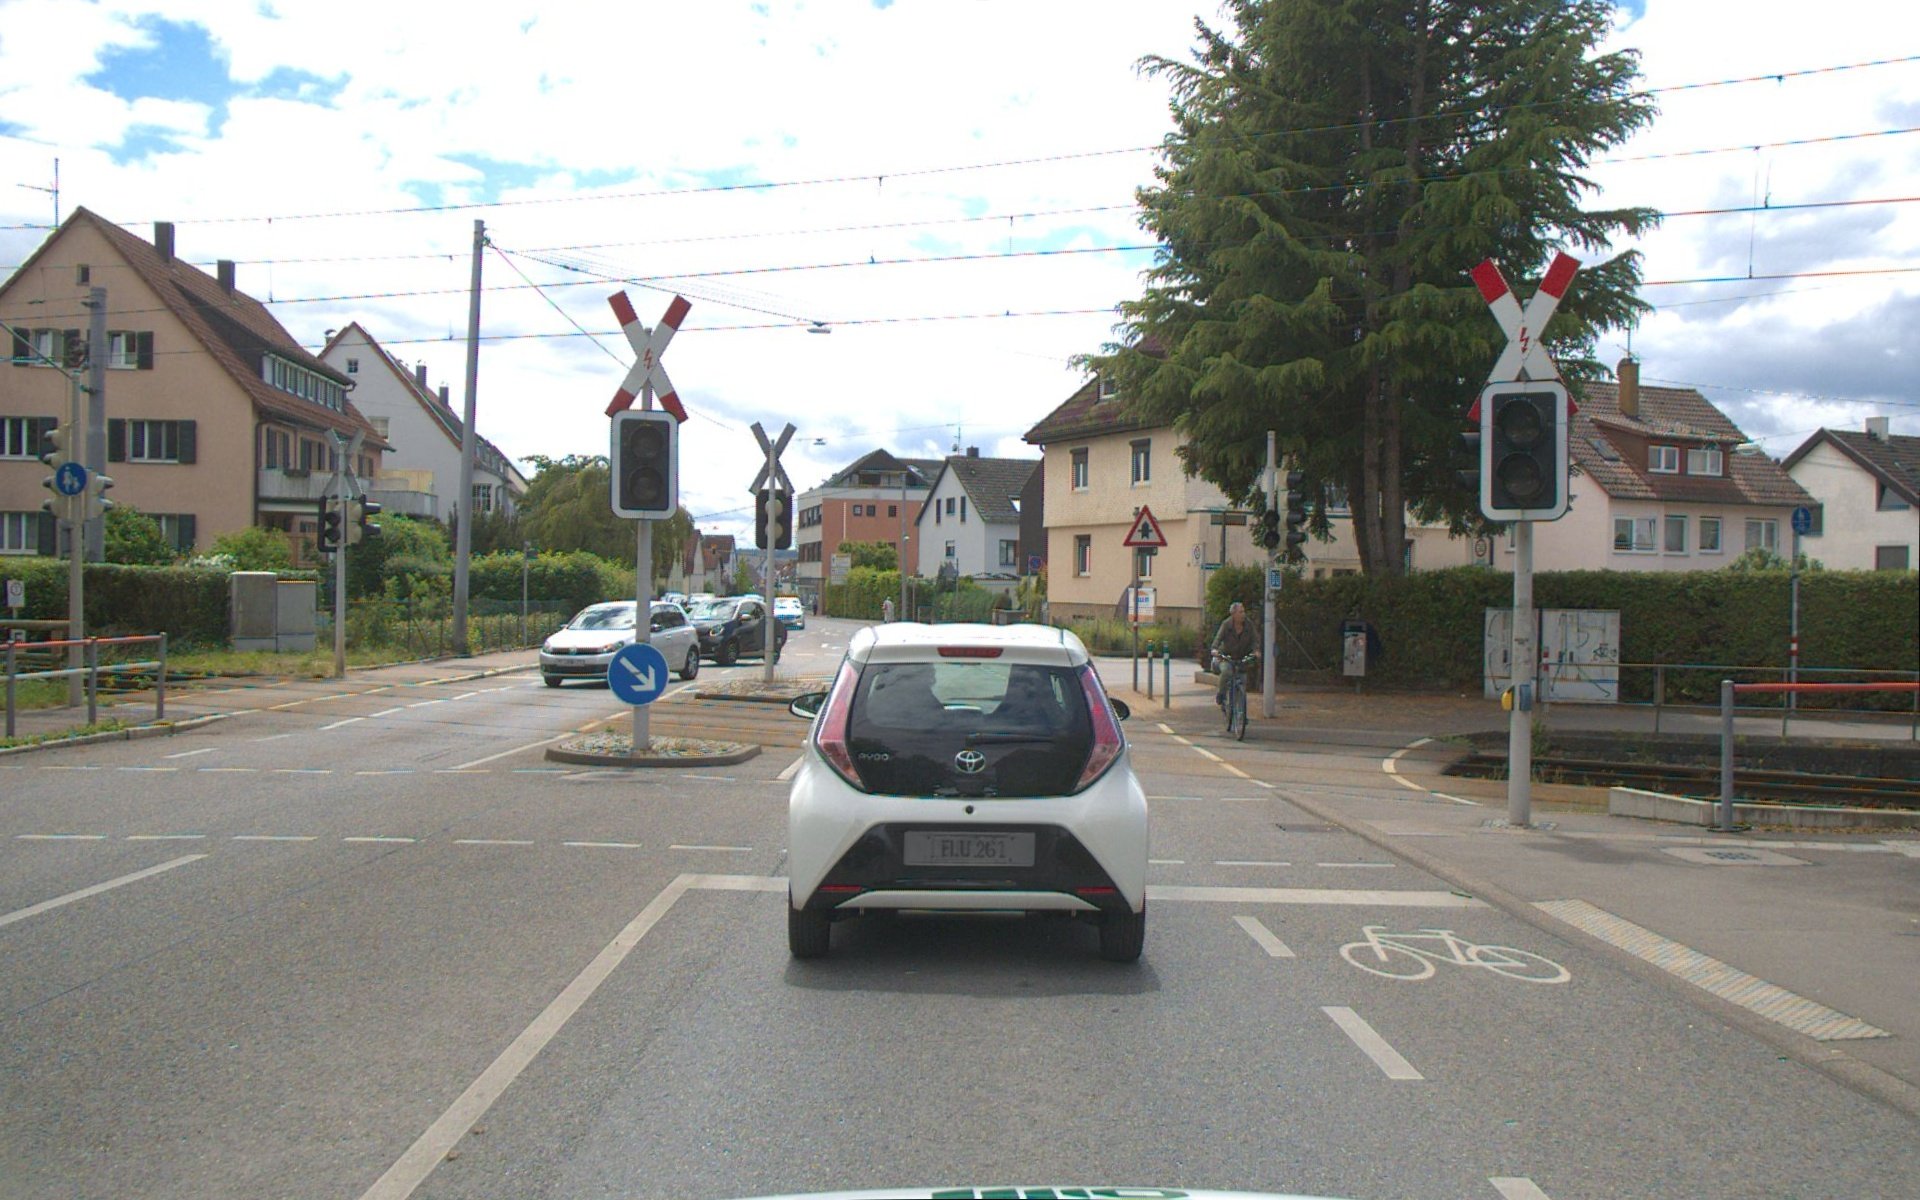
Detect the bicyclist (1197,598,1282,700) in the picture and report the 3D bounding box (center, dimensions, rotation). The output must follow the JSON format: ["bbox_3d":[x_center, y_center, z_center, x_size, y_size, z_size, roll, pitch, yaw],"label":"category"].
[{"bbox_3d":[3.677,0.632,21.867,0.913,1.269,1.102,0,2,-2],"label":"bicyclist"}]

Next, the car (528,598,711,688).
[{"bbox_3d":[-6.058,0.718,29.921,1.652,1.484,4.073,0,1,14],"label":"car"}]

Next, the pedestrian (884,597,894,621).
[{"bbox_3d":[-4.386,0.562,102.344,0.432,1.463,0.410,1,0,-33],"label":"pedestrian"}]

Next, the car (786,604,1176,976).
[{"bbox_3d":[0.063,0.803,8.773,1.588,1.512,3.999,0,-1,-1],"label":"car"}]

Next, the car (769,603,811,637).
[{"bbox_3d":[-8.435,0.953,81.659,1.743,1.589,4.159,1,0,-10],"label":"car"}]

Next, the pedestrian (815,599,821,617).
[{"bbox_3d":[-11.580,0.681,134.543,0.406,1.463,0.436,1,0,-11],"label":"pedestrian"}]

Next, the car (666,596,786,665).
[{"bbox_3d":[-5.415,0.699,38.499,1.543,1.536,2.787,0,-1,23],"label":"car"}]

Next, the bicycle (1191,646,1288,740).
[{"bbox_3d":[3.675,1.204,21.937,0.913,1.058,1.915,0,2,-1],"label":"bicycle"}]
